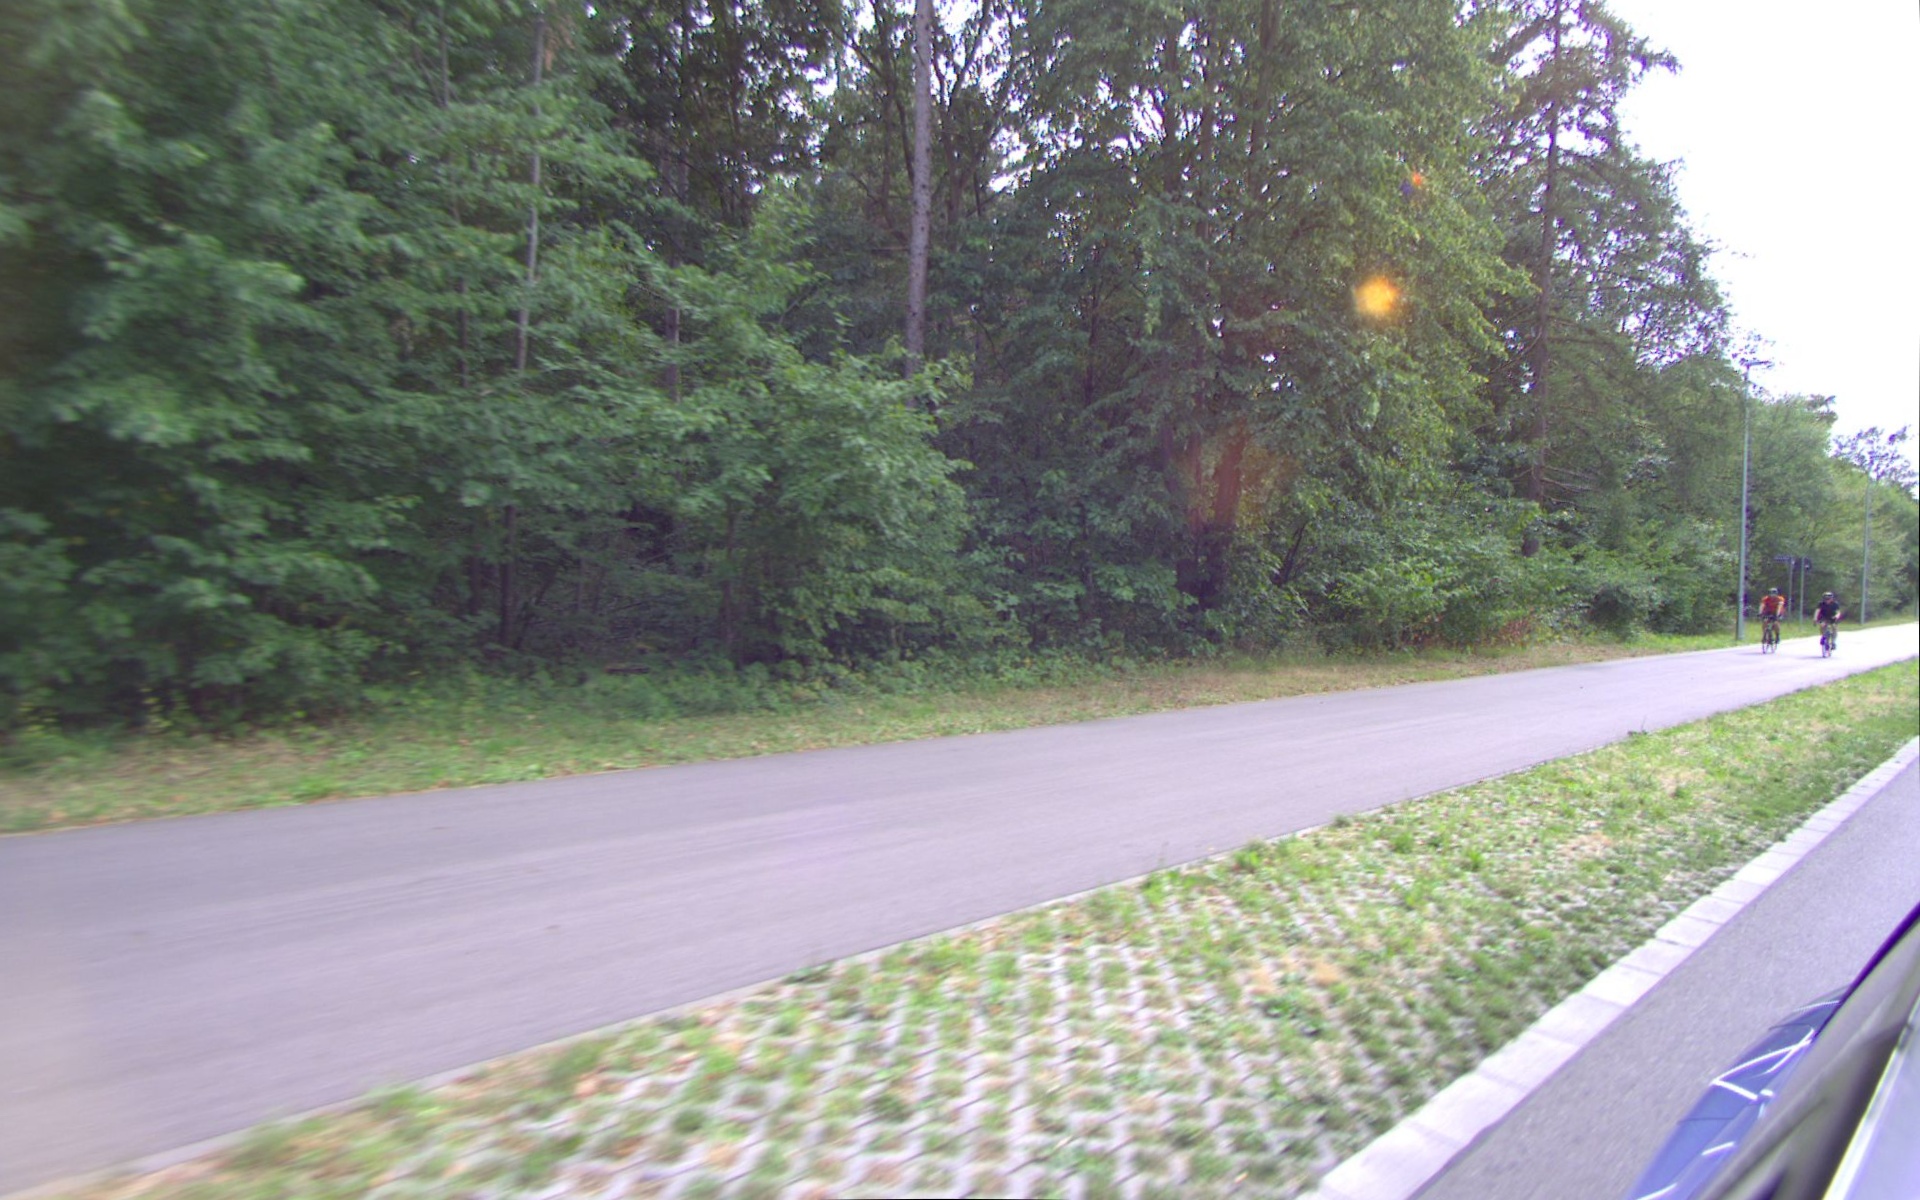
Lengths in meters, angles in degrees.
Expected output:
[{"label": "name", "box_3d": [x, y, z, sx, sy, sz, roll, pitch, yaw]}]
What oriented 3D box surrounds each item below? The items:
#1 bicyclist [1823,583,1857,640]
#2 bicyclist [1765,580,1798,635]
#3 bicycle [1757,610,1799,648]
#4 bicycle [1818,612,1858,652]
[{"label": "bicyclist", "box_3d": [22.671, 0.279, 26.076, 1.166, 1.433, 0.520, -1, 2, -43]}, {"label": "bicyclist", "box_3d": [21.837, 0.180, 26.903, 1.166, 1.433, 0.520, -1, 0, -43]}, {"label": "bicycle", "box_3d": [21.776, 0.747, 26.929, 1.855, 0.922, 0.566, 0, 4, -43]}, {"label": "bicycle", "box_3d": [22.689, 0.803, 26.147, 1.725, 0.922, 0.566, -1, 4, -43]}]
